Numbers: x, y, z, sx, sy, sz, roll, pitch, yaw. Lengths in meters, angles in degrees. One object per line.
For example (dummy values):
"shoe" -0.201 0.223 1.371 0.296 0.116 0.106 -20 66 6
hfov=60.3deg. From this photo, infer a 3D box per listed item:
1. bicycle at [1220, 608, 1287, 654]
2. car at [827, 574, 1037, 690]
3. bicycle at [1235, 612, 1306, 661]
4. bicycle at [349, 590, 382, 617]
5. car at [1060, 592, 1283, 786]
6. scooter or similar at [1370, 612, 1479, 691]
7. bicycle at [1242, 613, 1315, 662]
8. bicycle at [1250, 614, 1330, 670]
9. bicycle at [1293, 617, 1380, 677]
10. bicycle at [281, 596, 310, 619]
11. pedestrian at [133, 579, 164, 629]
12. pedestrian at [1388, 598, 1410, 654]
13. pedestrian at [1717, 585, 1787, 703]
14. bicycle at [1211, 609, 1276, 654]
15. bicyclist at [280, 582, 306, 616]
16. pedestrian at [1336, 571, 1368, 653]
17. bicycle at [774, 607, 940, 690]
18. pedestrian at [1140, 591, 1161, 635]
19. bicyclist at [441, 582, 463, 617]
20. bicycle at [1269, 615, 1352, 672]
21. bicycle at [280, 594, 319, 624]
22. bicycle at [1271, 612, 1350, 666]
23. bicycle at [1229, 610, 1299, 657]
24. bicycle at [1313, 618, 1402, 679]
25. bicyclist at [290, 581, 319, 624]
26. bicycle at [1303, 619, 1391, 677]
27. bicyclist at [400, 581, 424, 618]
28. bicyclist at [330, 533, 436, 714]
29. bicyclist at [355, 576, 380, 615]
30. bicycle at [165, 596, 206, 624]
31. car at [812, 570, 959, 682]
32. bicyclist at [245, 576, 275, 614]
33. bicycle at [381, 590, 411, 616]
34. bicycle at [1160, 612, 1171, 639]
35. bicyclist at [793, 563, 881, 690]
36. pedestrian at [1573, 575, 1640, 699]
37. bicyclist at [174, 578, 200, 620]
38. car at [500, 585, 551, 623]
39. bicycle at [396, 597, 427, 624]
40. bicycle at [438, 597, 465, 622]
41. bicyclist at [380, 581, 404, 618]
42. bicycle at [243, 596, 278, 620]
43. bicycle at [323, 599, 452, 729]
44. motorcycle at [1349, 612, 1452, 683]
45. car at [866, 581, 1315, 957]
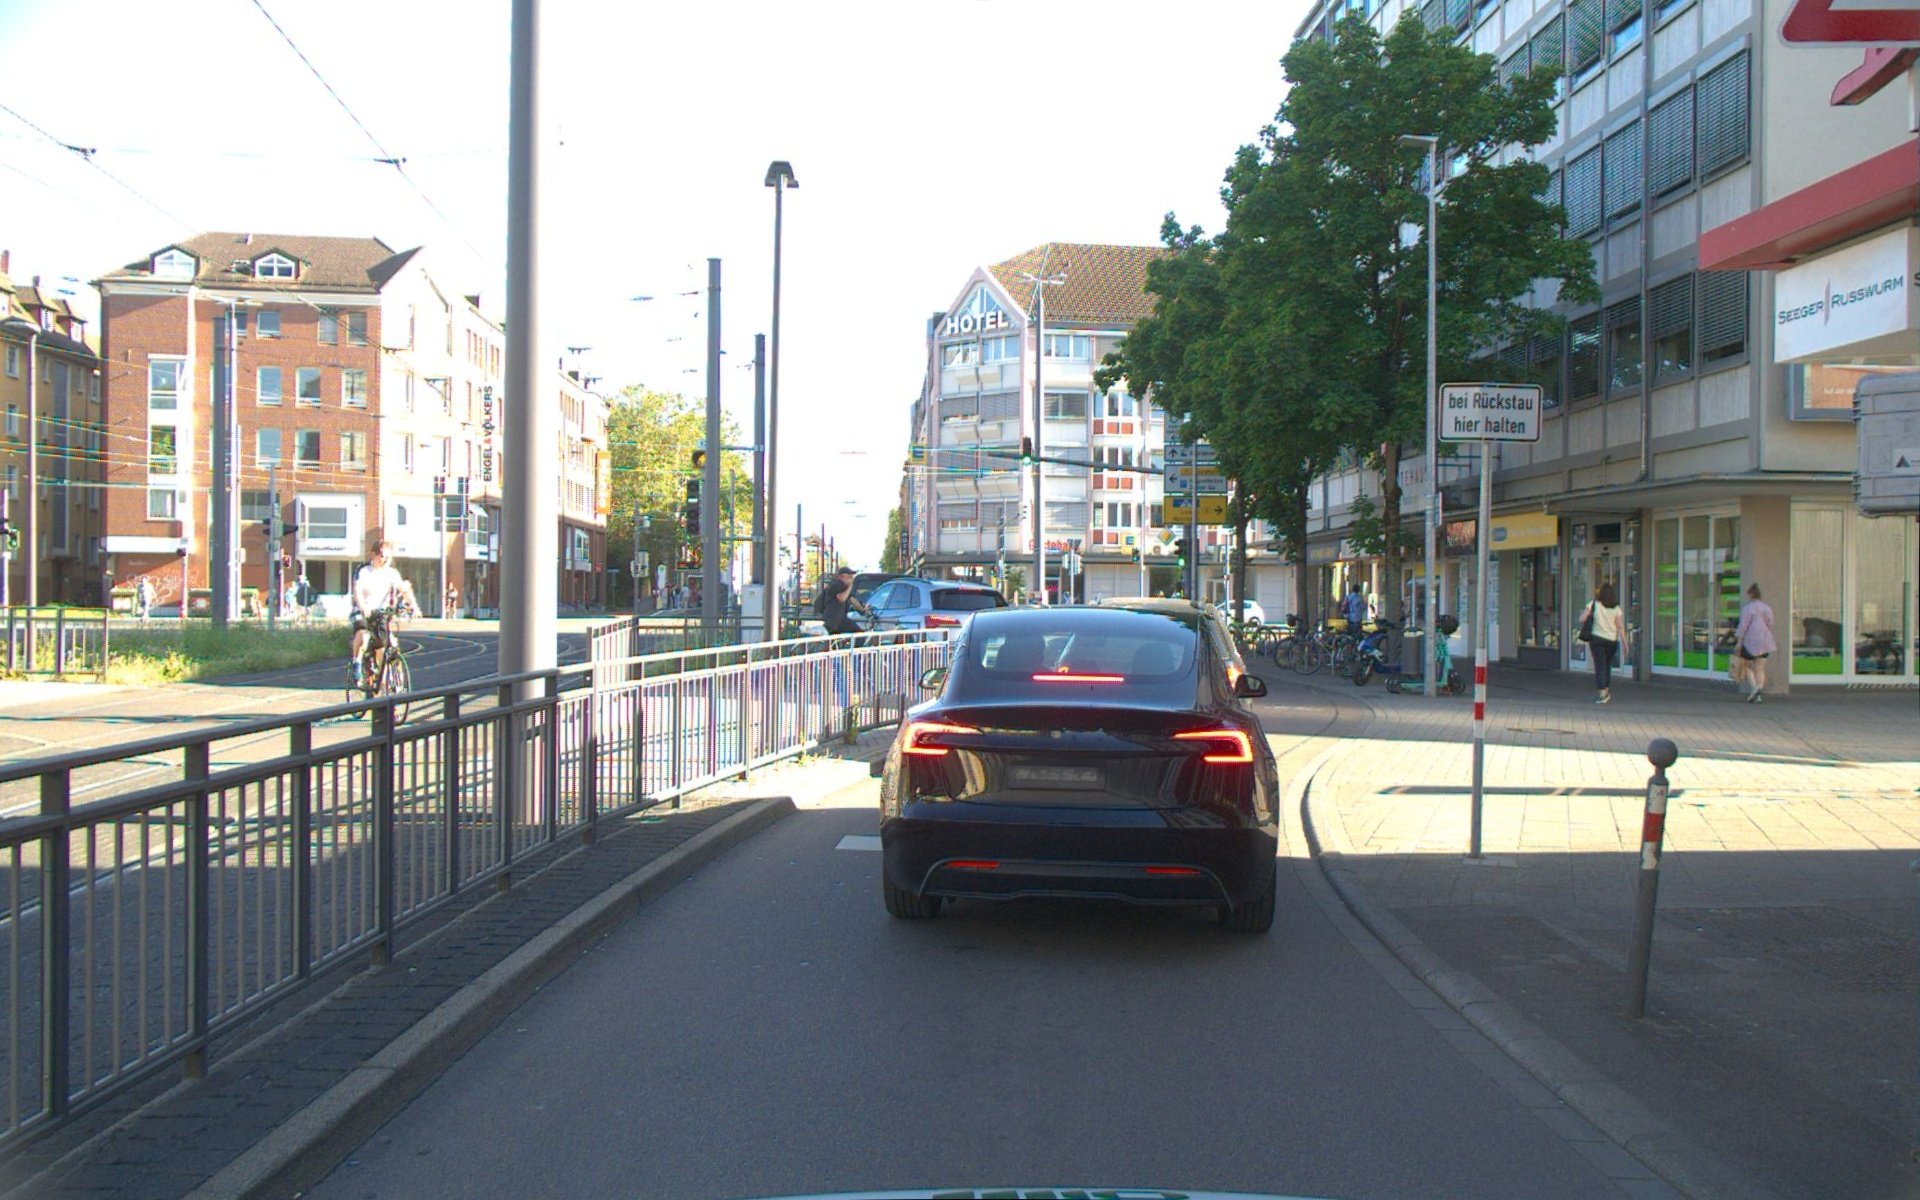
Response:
"bicycle" 7.363 0.776 41.475 1.616 1.118 0.350 0 0 1
"car" -0.547 0.476 26.490 1.859 1.691 4.125 1 0 -25
"bicycle" 7.399 0.866 39.416 1.616 1.118 0.350 1 -1 1
"bicycle" -25.045 0.154 69.754 0.518 1.107 2.284 0 0 1
"car" 1.845 0.683 14.947 1.714 1.480 4.003 1 0 6
"scooter or similar" 7.662 0.839 27.282 1.610 1.236 0.644 1 -1 30
"bicycle" 7.383 0.865 38.389 1.616 1.118 0.350 1 -1 1
"bicycle" 6.851 0.873 34.331 1.620 1.118 0.349 1 -1 -11
"bicycle" 7.278 0.909 31.959 1.620 1.118 0.349 1 -1 -11
"bicycle" -29.656 0.336 73.788 0.396 0.998 1.695 1 0 7
"pedestrian" -30.924 0.152 63.042 0.767 1.852 0.746 1 -1 1
"pedestrian" 10.833 0.648 40.818 0.381 1.367 0.513 1 -1 1
"pedestrian" 11.643 0.637 24.332 0.871 1.696 0.808 1 -1 23
"bicycle" 7.293 0.800 42.568 1.616 1.118 0.350 1 -1 1
"bicyclist" -29.693 -0.047 73.650 0.689 1.496 0.973 0 0 7
"pedestrian" 9.848 0.305 41.547 0.648 2.049 0.579 1 -1 1
"bicycle" -1.370 0.655 22.454 2.313 1.072 0.622 1 -1 -39
"pedestrian" 7.398 0.495 64.193 0.685 1.691 0.777 1 -1 -1
"bicyclist" -23.370 -0.003 76.070 0.767 1.590 0.746 1 -1 1
"bicycle" 7.096 0.886 33.484 1.620 1.118 0.349 1 -1 -11
"bicycle" -24.868 0.328 62.291 0.526 1.107 2.225 1 0 1
"bicycle" 7.500 0.827 35.439 1.616 1.118 0.350 1 -1 1
"bicycle" 7.428 0.819 40.430 1.616 1.118 0.350 1 -1 1
"bicycle" 7.479 0.918 31.116 1.620 1.118 0.349 1 -1 -11
"bicyclist" -24.835 0.092 62.687 0.767 1.590 0.746 1 -1 1
"bicycle" 7.383 0.911 31.537 1.620 1.079 0.349 1 -1 -11
"bicyclist" -23.185 -0.022 70.015 0.767 1.590 0.746 0 0 1
"bicyclist" -5.895 0.235 16.889 0.740 1.790 0.753 0 -1 44
"bicyclist" -25.025 -0.185 69.836 0.767 1.590 0.746 1 -1 1
"bicycle" -28.267 0.370 60.405 0.437 0.988 2.246 1 0 -1
"car" -1.530 0.487 32.565 1.962 2.049 3.981 0 0 -17
"bicyclist" -28.484 -0.207 67.284 0.880 1.529 0.696 1 -1 -1
"bicycle" -24.935 0.147 73.156 0.518 1.107 2.284 1 0 1
"bicycle" 7.931 0.978 63.954 0.325 1.052 1.257 1 0 4
"bicyclist" -1.656 0.343 22.198 0.753 1.657 0.964 1 -1 -39
"pedestrian" 9.564 0.534 24.475 0.895 1.783 1.038 0 0 22
"bicyclist" -28.251 -0.029 60.461 0.620 1.529 0.696 1 -1 -1
"car" -21.310 0.192 81.192 1.663 1.762 3.704 1 0 -3
"bicycle" -23.147 0.423 69.842 0.518 1.107 2.225 0 0 1
"bicycle" -23.371 0.432 76.074 0.518 1.107 2.225 1 0 1
"bicyclist" -24.929 -0.025 72.637 0.767 1.590 0.746 0 0 1
"bicycle" -28.519 0.325 67.470 0.513 0.988 2.246 1 0 -1
"bicycle" -5.858 0.623 16.873 0.482 1.244 1.824 1 -1 -45
"motorcycle" 7.808 0.840 29.359 1.673 1.194 0.541 1 -1 -3
"car" 0.665 0.687 8.698 1.791 1.481 4.002 1 0 4
